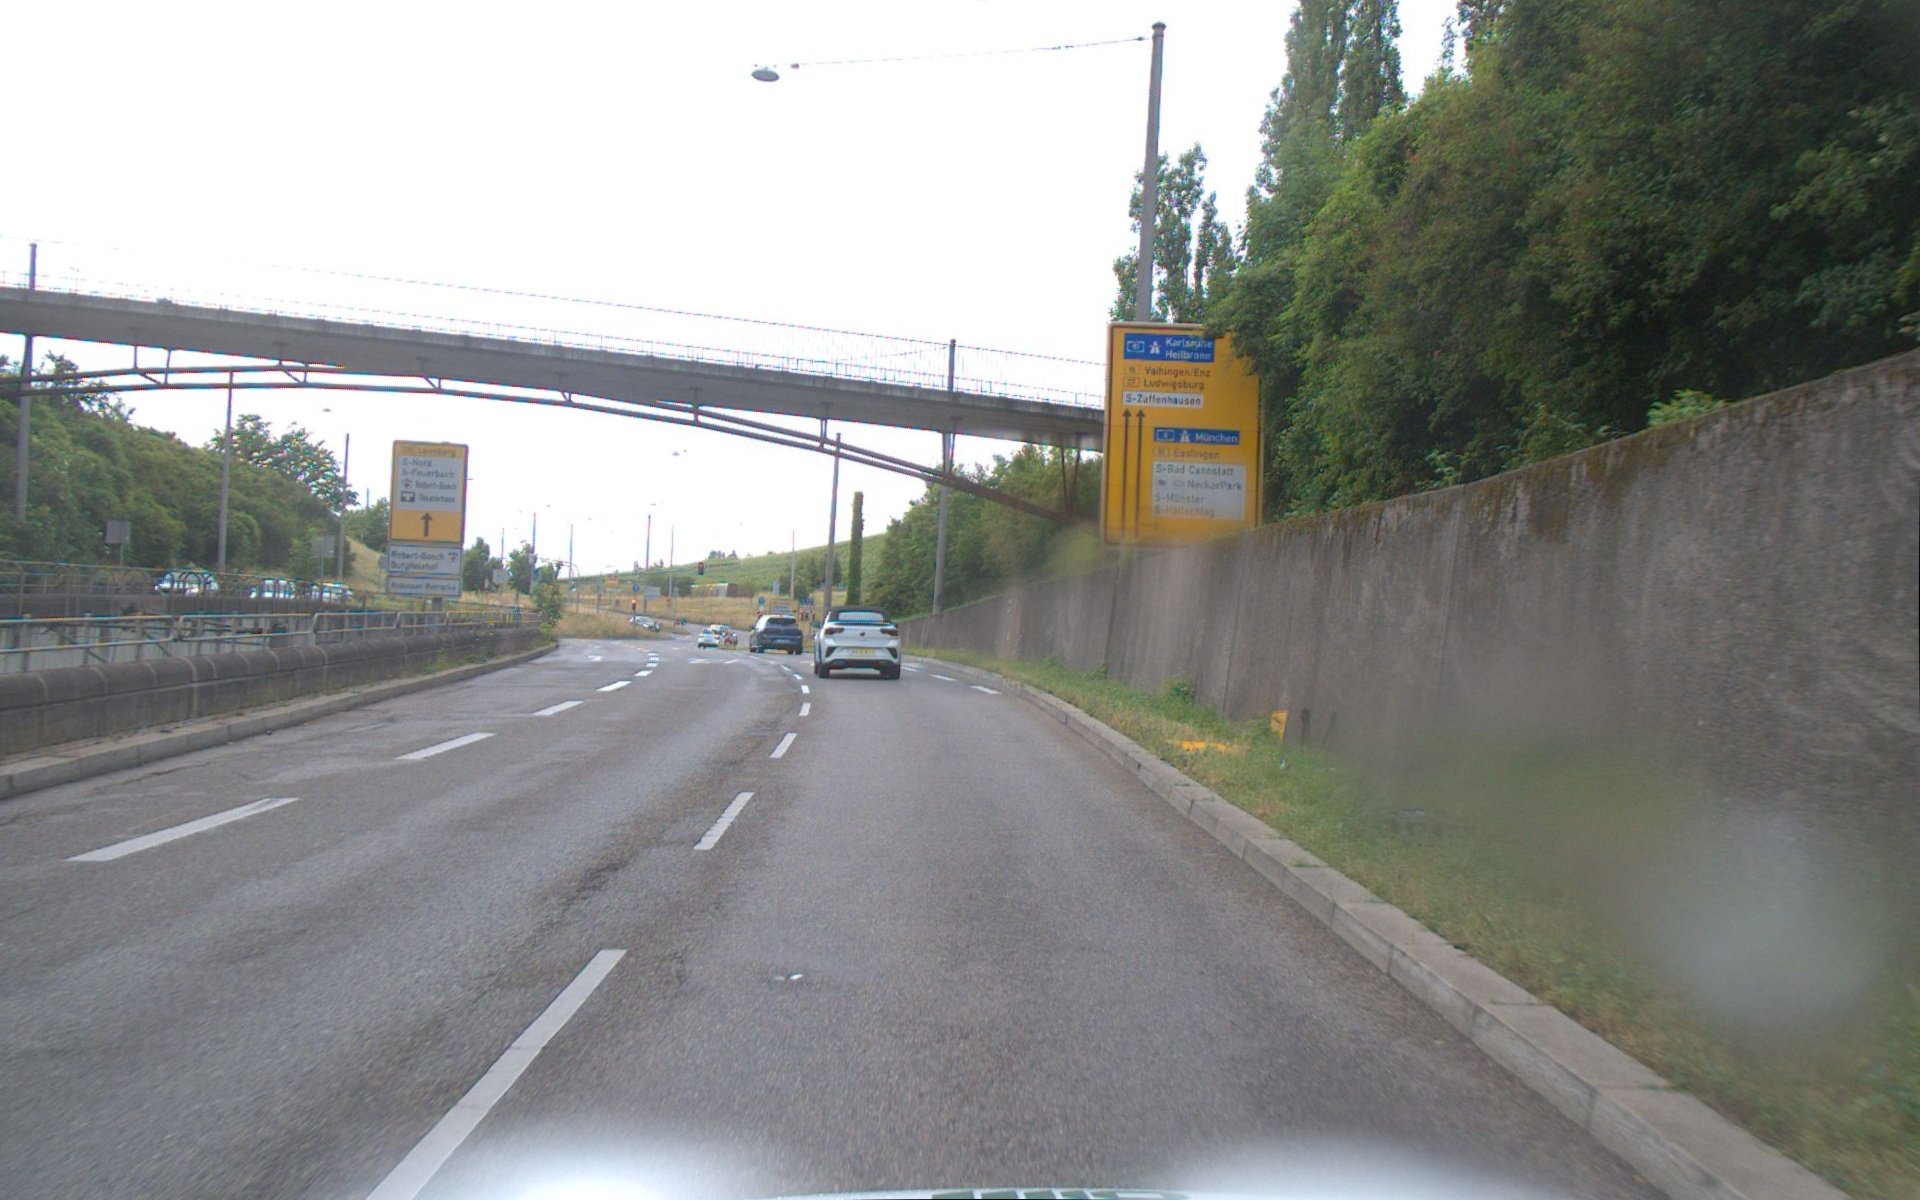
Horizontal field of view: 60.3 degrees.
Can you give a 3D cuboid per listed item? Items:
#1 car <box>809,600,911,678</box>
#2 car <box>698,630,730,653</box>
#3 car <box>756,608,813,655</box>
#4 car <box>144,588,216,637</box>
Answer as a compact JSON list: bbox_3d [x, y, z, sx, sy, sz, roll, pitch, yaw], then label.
[{"bbox_3d":[-2.280,0.815,36.664,1.958,1.606,4.118,0,0,-8],"label":"car"},{"bbox_3d":[-18.985,3.218,127.815,1.738,1.545,3.724,5,-2,1],"label":"car"},{"bbox_3d":[-6.872,1.251,64.511,1.891,1.627,4.051,3,-3,-10],"label":"car"},{"bbox_3d":[-32.213,0.531,68.387,1.641,1.949,4.545,1,-1,-12],"label":"car"}]
